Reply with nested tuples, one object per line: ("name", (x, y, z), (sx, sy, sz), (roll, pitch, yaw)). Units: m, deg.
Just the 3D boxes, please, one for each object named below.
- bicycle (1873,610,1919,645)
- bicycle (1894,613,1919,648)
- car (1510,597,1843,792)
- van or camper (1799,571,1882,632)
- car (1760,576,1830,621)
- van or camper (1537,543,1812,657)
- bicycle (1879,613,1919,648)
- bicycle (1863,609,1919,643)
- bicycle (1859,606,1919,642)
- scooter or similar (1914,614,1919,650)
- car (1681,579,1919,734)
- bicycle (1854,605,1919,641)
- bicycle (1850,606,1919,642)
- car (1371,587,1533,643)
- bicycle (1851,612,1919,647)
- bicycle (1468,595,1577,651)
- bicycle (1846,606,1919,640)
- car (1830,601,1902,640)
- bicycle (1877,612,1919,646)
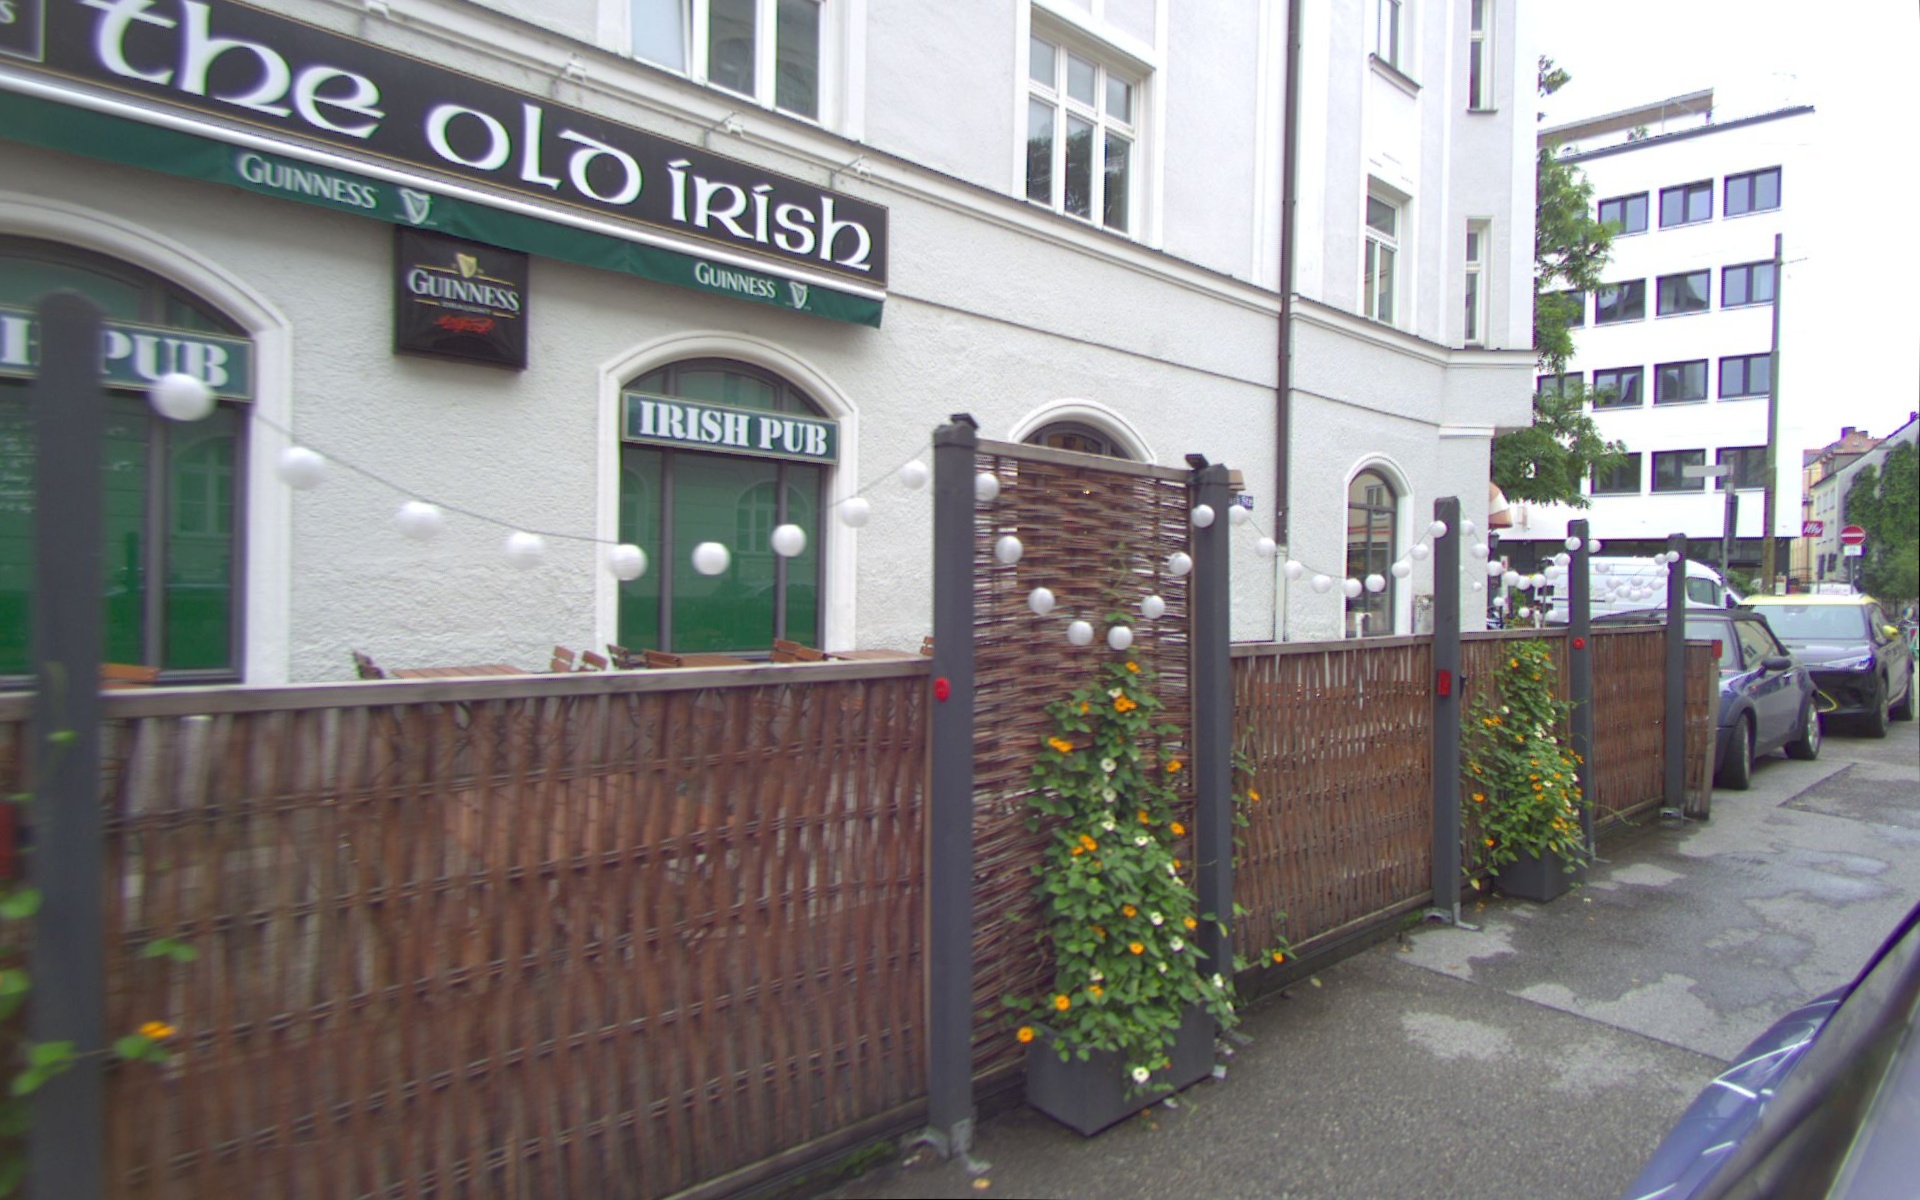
("bicycle", (30.050, 0.864, 31.676), (2.094, 1.045, 0.962), (1, 1, 37))
("bicycle", (28.081, 0.902, 28.895), (1.983, 0.976, 0.961), (1, 1, 37))
("car", (6.556, 0.711, 9.145), (3.431, 1.418, 1.669), (0, -2, -41))
("van or camper", (39.165, 0.052, 45.167), (1.953, 2.540, 5.656), (1, 1, 33))
("car", (42.227, -0.102, 51.250), (1.982, 2.161, 3.959), (1, 1, 29))
("van or camper", (19.140, -0.014, 27.300), (5.847, 2.749, 2.269), (2, -2, 41))
("bicycle", (28.692, 0.915, 29.904), (2.165, 0.988, 0.962), (1, 1, 37))
("bicycle", (30.659, 0.849, 32.658), (2.141, 1.045, 0.962), (1, 1, 37))
("bicycle", (31.937, 0.809, 34.385), (2.025, 1.160, 0.660), (1, 1, 37))
("scooter or similar", (27.345, 0.898, 28.045), (1.276, 0.988, 0.492), (1, 1, 37))
("car", (10.775, 0.619, 12.746), (4.023, 1.639, 1.839), (0, -2, -41))
("bicycle", (32.410, 0.792, 34.978), (2.169, 1.160, 0.666), (1, 1, 37))
("bicycle", (31.299, 0.795, 33.878), (2.196, 1.160, 0.730), (1, 1, 37))
("car", (14.844, 0.439, 30.613), (4.122, 1.505, 1.867), (1, -2, 37))
("bicycle", (33.297, 1.050, 36.122), (2.193, 1.160, 0.687), (1, 1, 37))
("bicycle", (12.450, 0.491, 22.467), (0.673, 1.144, 2.011), (1, 1, -36))
("bicycle", (33.606, 0.831, 36.650), (2.195, 1.160, 0.631), (1, 1, 37))
("car", (35.102, 0.756, 39.291), (1.750, 1.412, 3.946), (1, 1, 37))
("bicycle", (29.424, 0.899, 30.784), (2.163, 0.976, 0.962), (1, 1, 37))
